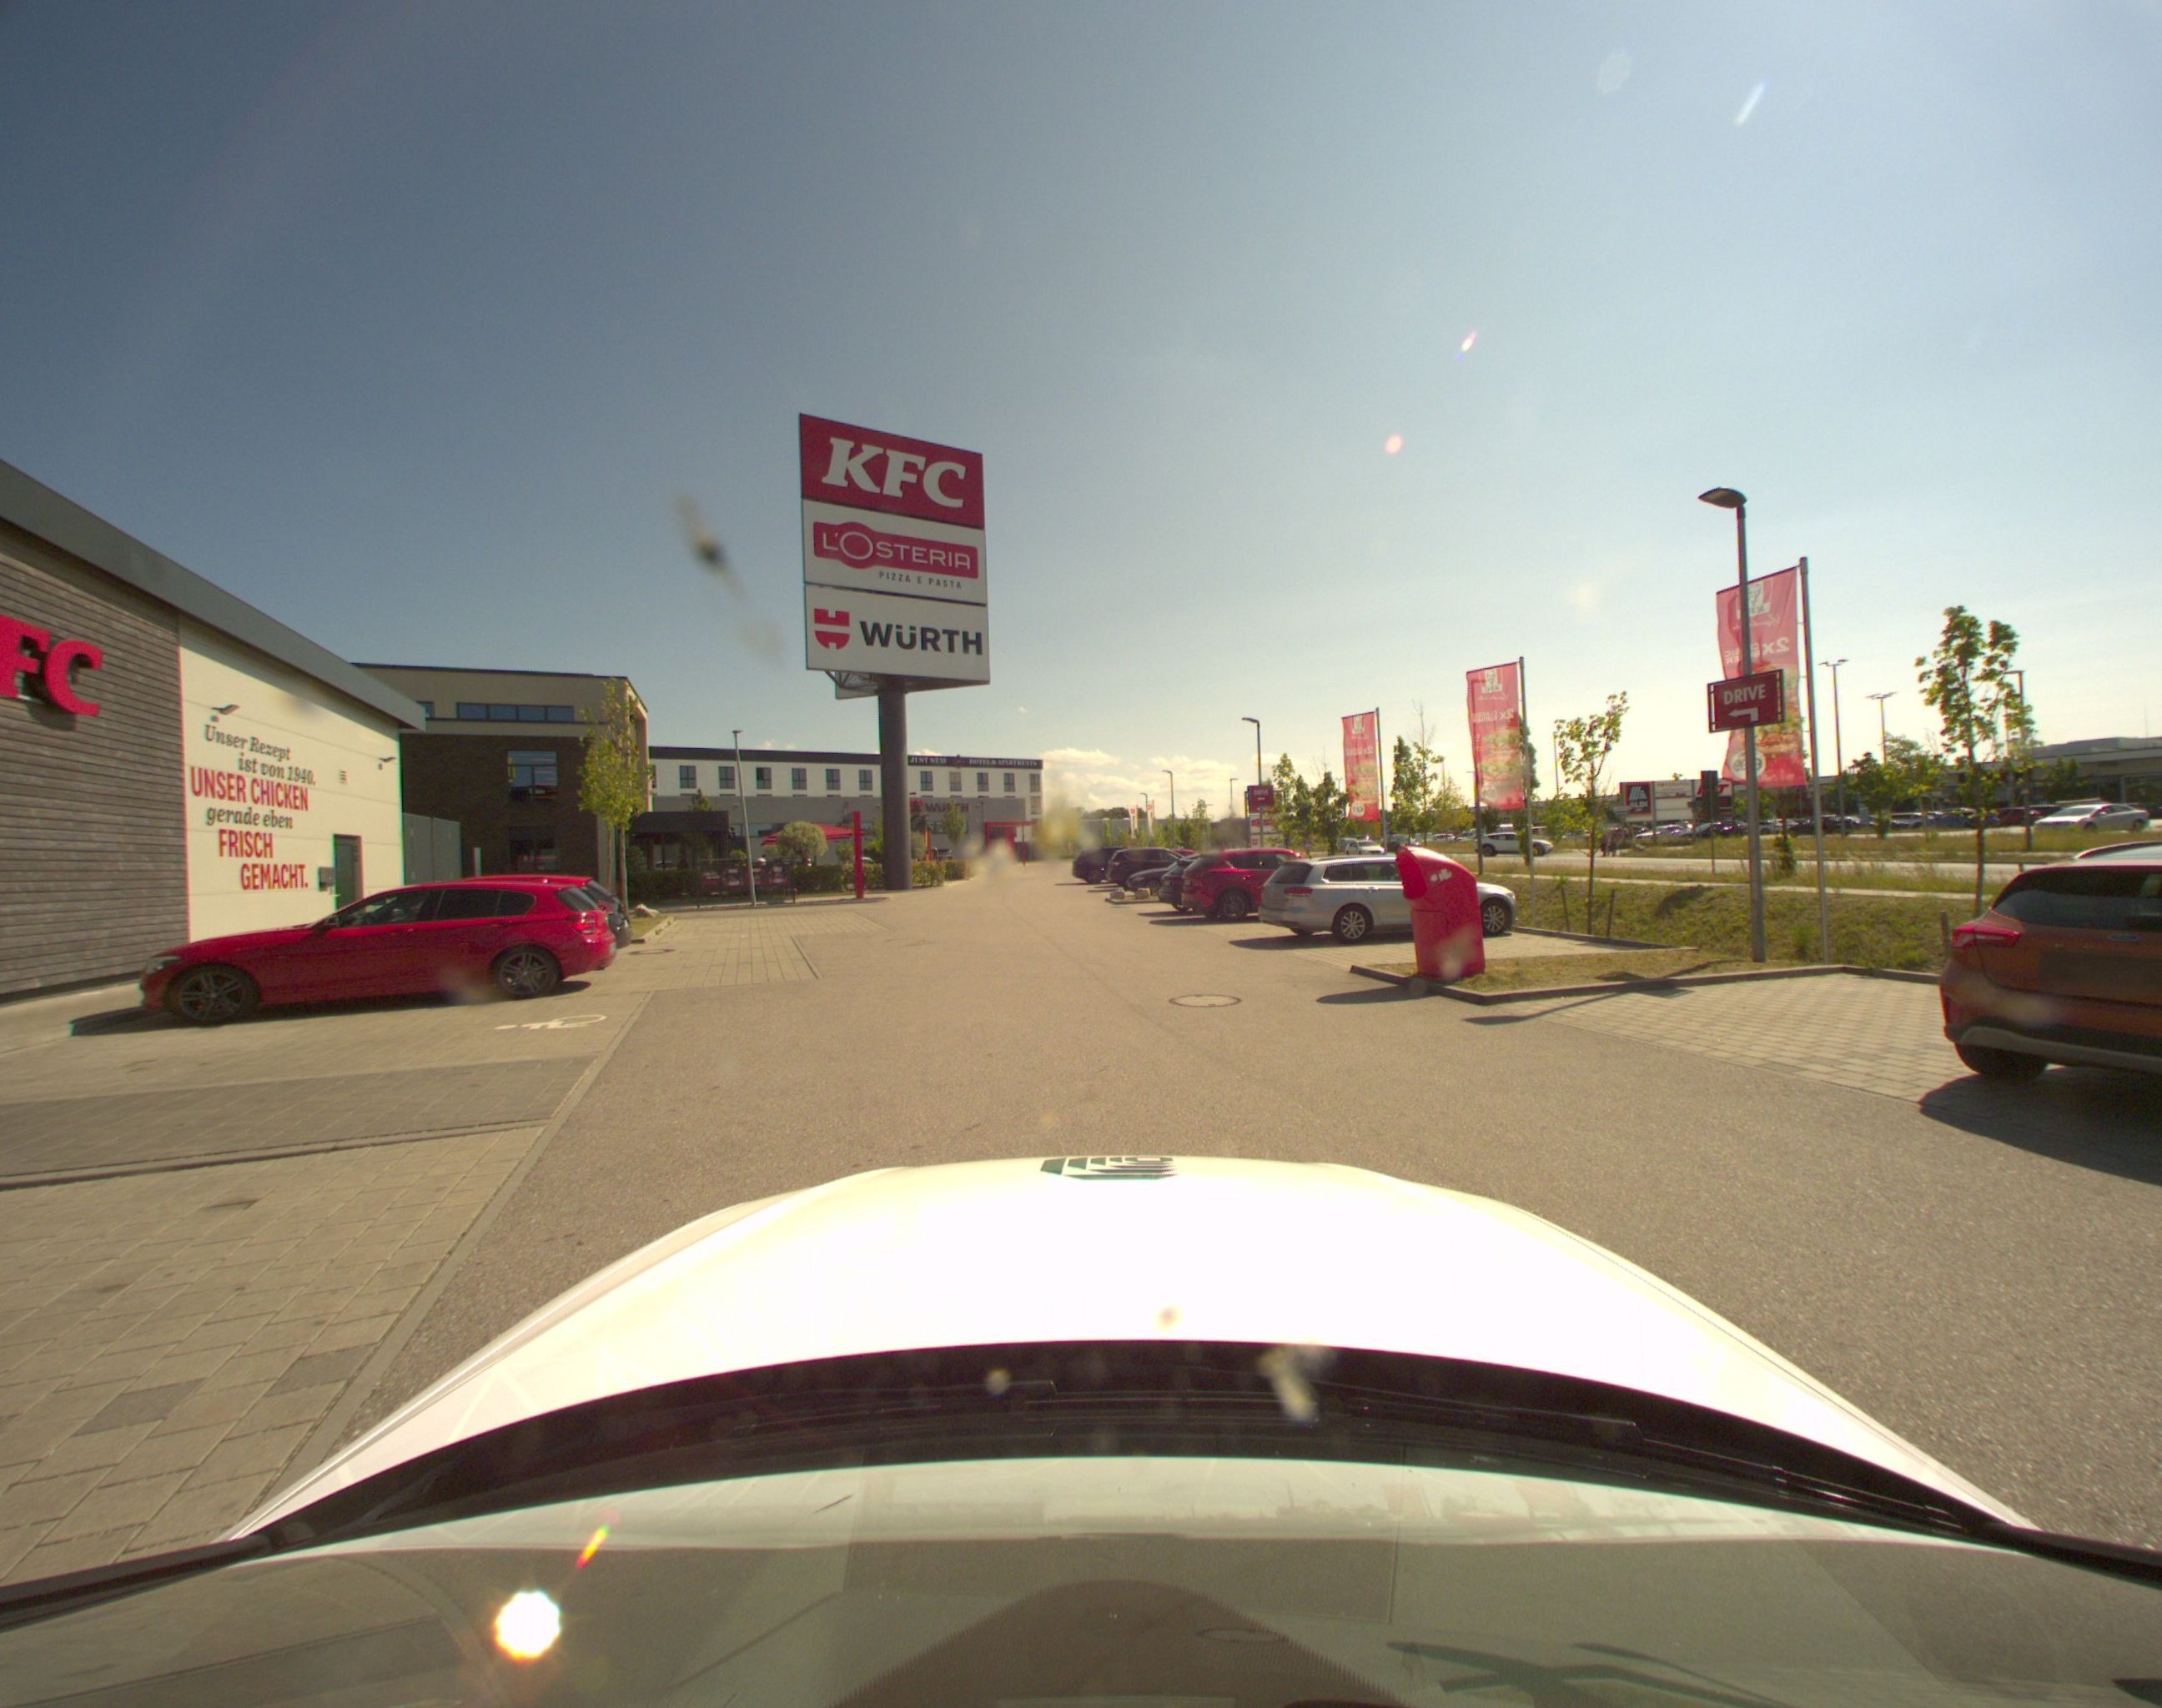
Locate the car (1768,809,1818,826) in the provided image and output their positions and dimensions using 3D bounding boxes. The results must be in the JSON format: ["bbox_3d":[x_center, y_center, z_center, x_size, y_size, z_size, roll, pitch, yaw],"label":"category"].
[{"bbox_3d":[72.397,-3.735,82.847,1.671,1.552,3.444,-2,1,-28],"label":"car"}]

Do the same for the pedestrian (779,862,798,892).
[{"bbox_3d":[-13.735,1.058,38.199,0.476,1.366,0.654,-1,1,42],"label":"pedestrian"}]

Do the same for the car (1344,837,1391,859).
[{"bbox_3d":[21.383,-0.478,61.010,1.986,1.526,4.659,-2,1,2],"label":"car"}]

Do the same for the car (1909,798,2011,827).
[{"bbox_3d":[62.360,-2.930,57.894,1.958,1.855,4.539,-2,1,-23],"label":"car"}]

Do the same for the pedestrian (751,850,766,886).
[{"bbox_3d":[-13.800,0.577,34.853,0.527,1.505,0.564,-2,1,-25],"label":"pedestrian"}]

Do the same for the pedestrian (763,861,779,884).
[{"bbox_3d":[-16.859,0.985,44.299,0.709,1.198,0.613,-2,1,-15],"label":"pedestrian"}]

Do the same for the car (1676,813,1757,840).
[{"bbox_3d":[48.221,-2.050,61.833,4.706,1.846,1.998,-2,1,-3],"label":"car"}]

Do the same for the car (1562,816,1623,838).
[{"bbox_3d":[50.156,-2.654,79.840,5.169,2.013,1.991,-2,1,-14],"label":"car"}]

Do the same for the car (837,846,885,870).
[{"bbox_3d":[-15.675,0.292,57.857,1.962,1.530,4.330,-3,1,-34],"label":"car"}]

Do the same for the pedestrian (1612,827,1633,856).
[{"bbox_3d":[30.783,-0.716,46.281,0.687,1.599,0.757,-2,1,3],"label":"pedestrian"}]

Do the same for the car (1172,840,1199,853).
[{"bbox_3d":[14.882,-1.015,116.086,1.998,1.732,4.732,-2,1,-17],"label":"car"}]

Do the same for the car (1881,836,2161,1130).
[{"bbox_3d":[7.442,0.610,4.886,4.346,1.469,1.824,-1,0,-15],"label":"car"}]

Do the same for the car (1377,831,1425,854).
[{"bbox_3d":[25.188,-0.895,64.251,1.868,1.664,4.600,-2,1,-2],"label":"car"}]

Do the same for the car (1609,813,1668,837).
[{"bbox_3d":[51.002,-2.612,74.551,4.063,2.013,2.000,-2,1,0],"label":"car"}]

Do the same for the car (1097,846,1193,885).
[{"bbox_3d":[2.889,0.501,37.162,4.063,1.608,1.892,-1,1,-6],"label":"car"}]

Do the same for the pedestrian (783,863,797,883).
[{"bbox_3d":[-16.288,1.071,45.608,0.576,1.089,0.543,-2,1,-7],"label":"pedestrian"}]

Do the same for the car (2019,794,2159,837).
[{"bbox_3d":[48.313,-1.837,39.087,4.258,1.855,2.000,-2,1,0],"label":"car"}]

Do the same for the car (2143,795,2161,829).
[{"bbox_3d":[60.099,-2.335,43.126,1.958,1.855,4.371,-2,1,-23],"label":"car"}]

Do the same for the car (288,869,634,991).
[{"bbox_3d":[-9.258,1.053,12.609,3.913,1.506,1.727,-1,0,-24],"label":"car"}]

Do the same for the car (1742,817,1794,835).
[{"bbox_3d":[65.969,-2.672,78.223,1.671,1.552,3.444,-2,1,-28],"label":"car"}]

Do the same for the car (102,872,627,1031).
[{"bbox_3d":[-8.101,1.011,9.844,4.409,1.413,1.726,-1,0,-26],"label":"car"}]

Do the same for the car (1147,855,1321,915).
[{"bbox_3d":[4.050,0.779,21.764,4.197,1.410,1.766,-1,0,-13],"label":"car"}]

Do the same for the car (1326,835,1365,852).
[{"bbox_3d":[25.260,-1.017,78.011,1.990,1.504,4.651,-2,1,-4],"label":"car"}]

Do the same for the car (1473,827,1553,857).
[{"bbox_3d":[28.244,-0.782,53.259,4.349,1.845,2.013,-1,1,35],"label":"car"}]

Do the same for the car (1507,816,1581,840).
[{"bbox_3d":[48.272,-2.659,84.973,6.291,2.237,2.807,-2,1,-10],"label":"car"}]

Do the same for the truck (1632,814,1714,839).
[{"bbox_3d":[48.630,-2.243,66.990,5.404,1.863,1.998,-2,1,-4],"label":"truck"}]

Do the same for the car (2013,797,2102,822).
[{"bbox_3d":[80.679,-3.657,67.353,1.958,1.855,4.371,-2,1,-23],"label":"car"}]

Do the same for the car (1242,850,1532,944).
[{"bbox_3d":[5.344,0.690,14.432,4.588,1.413,1.734,-1,0,-11],"label":"car"}]

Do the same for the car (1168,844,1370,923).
[{"bbox_3d":[4.360,0.634,19.208,4.219,1.638,1.944,-1,0,-11],"label":"car"}]

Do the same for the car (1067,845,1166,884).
[{"bbox_3d":[1.691,0.484,39.848,4.569,1.760,1.892,-1,0,-6],"label":"car"}]

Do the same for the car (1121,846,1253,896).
[{"bbox_3d":[3.741,0.577,29.356,4.427,1.638,1.893,-1,0,-4],"label":"car"}]

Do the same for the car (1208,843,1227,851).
[{"bbox_3d":[31.949,-1.678,190.462,3.971,1.658,1.888,-3,1,-30],"label":"car"}]

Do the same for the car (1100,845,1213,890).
[{"bbox_3d":[3.122,0.531,34.043,4.320,1.702,1.889,-1,0,-11],"label":"car"}]

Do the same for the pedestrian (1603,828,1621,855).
[{"bbox_3d":[30.774,-0.736,47.204,0.621,1.556,0.668,-2,1,3],"label":"pedestrian"}]

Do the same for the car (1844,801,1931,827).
[{"bbox_3d":[69.188,-3.386,69.964,2.087,2.013,4.889,-2,1,-27],"label":"car"}]

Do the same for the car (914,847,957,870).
[{"bbox_3d":[-12.902,0.397,71.841,2.085,1.880,4.831,-3,1,-31],"label":"car"}]

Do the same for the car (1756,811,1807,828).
[{"bbox_3d":[68.253,-3.346,79.391,1.671,1.552,3.444,-2,1,-28],"label":"car"}]

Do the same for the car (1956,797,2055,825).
[{"bbox_3d":[69.609,-3.210,61.388,1.958,1.855,4.539,-2,1,-23],"label":"car"}]

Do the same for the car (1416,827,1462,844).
[{"bbox_3d":[44.584,-2.300,101.394,5.066,2.013,1.991,-2,1,-14],"label":"car"}]

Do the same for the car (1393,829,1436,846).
[{"bbox_3d":[43.817,-2.187,107.017,5.066,2.013,1.991,-2,1,-14],"label":"car"}]
